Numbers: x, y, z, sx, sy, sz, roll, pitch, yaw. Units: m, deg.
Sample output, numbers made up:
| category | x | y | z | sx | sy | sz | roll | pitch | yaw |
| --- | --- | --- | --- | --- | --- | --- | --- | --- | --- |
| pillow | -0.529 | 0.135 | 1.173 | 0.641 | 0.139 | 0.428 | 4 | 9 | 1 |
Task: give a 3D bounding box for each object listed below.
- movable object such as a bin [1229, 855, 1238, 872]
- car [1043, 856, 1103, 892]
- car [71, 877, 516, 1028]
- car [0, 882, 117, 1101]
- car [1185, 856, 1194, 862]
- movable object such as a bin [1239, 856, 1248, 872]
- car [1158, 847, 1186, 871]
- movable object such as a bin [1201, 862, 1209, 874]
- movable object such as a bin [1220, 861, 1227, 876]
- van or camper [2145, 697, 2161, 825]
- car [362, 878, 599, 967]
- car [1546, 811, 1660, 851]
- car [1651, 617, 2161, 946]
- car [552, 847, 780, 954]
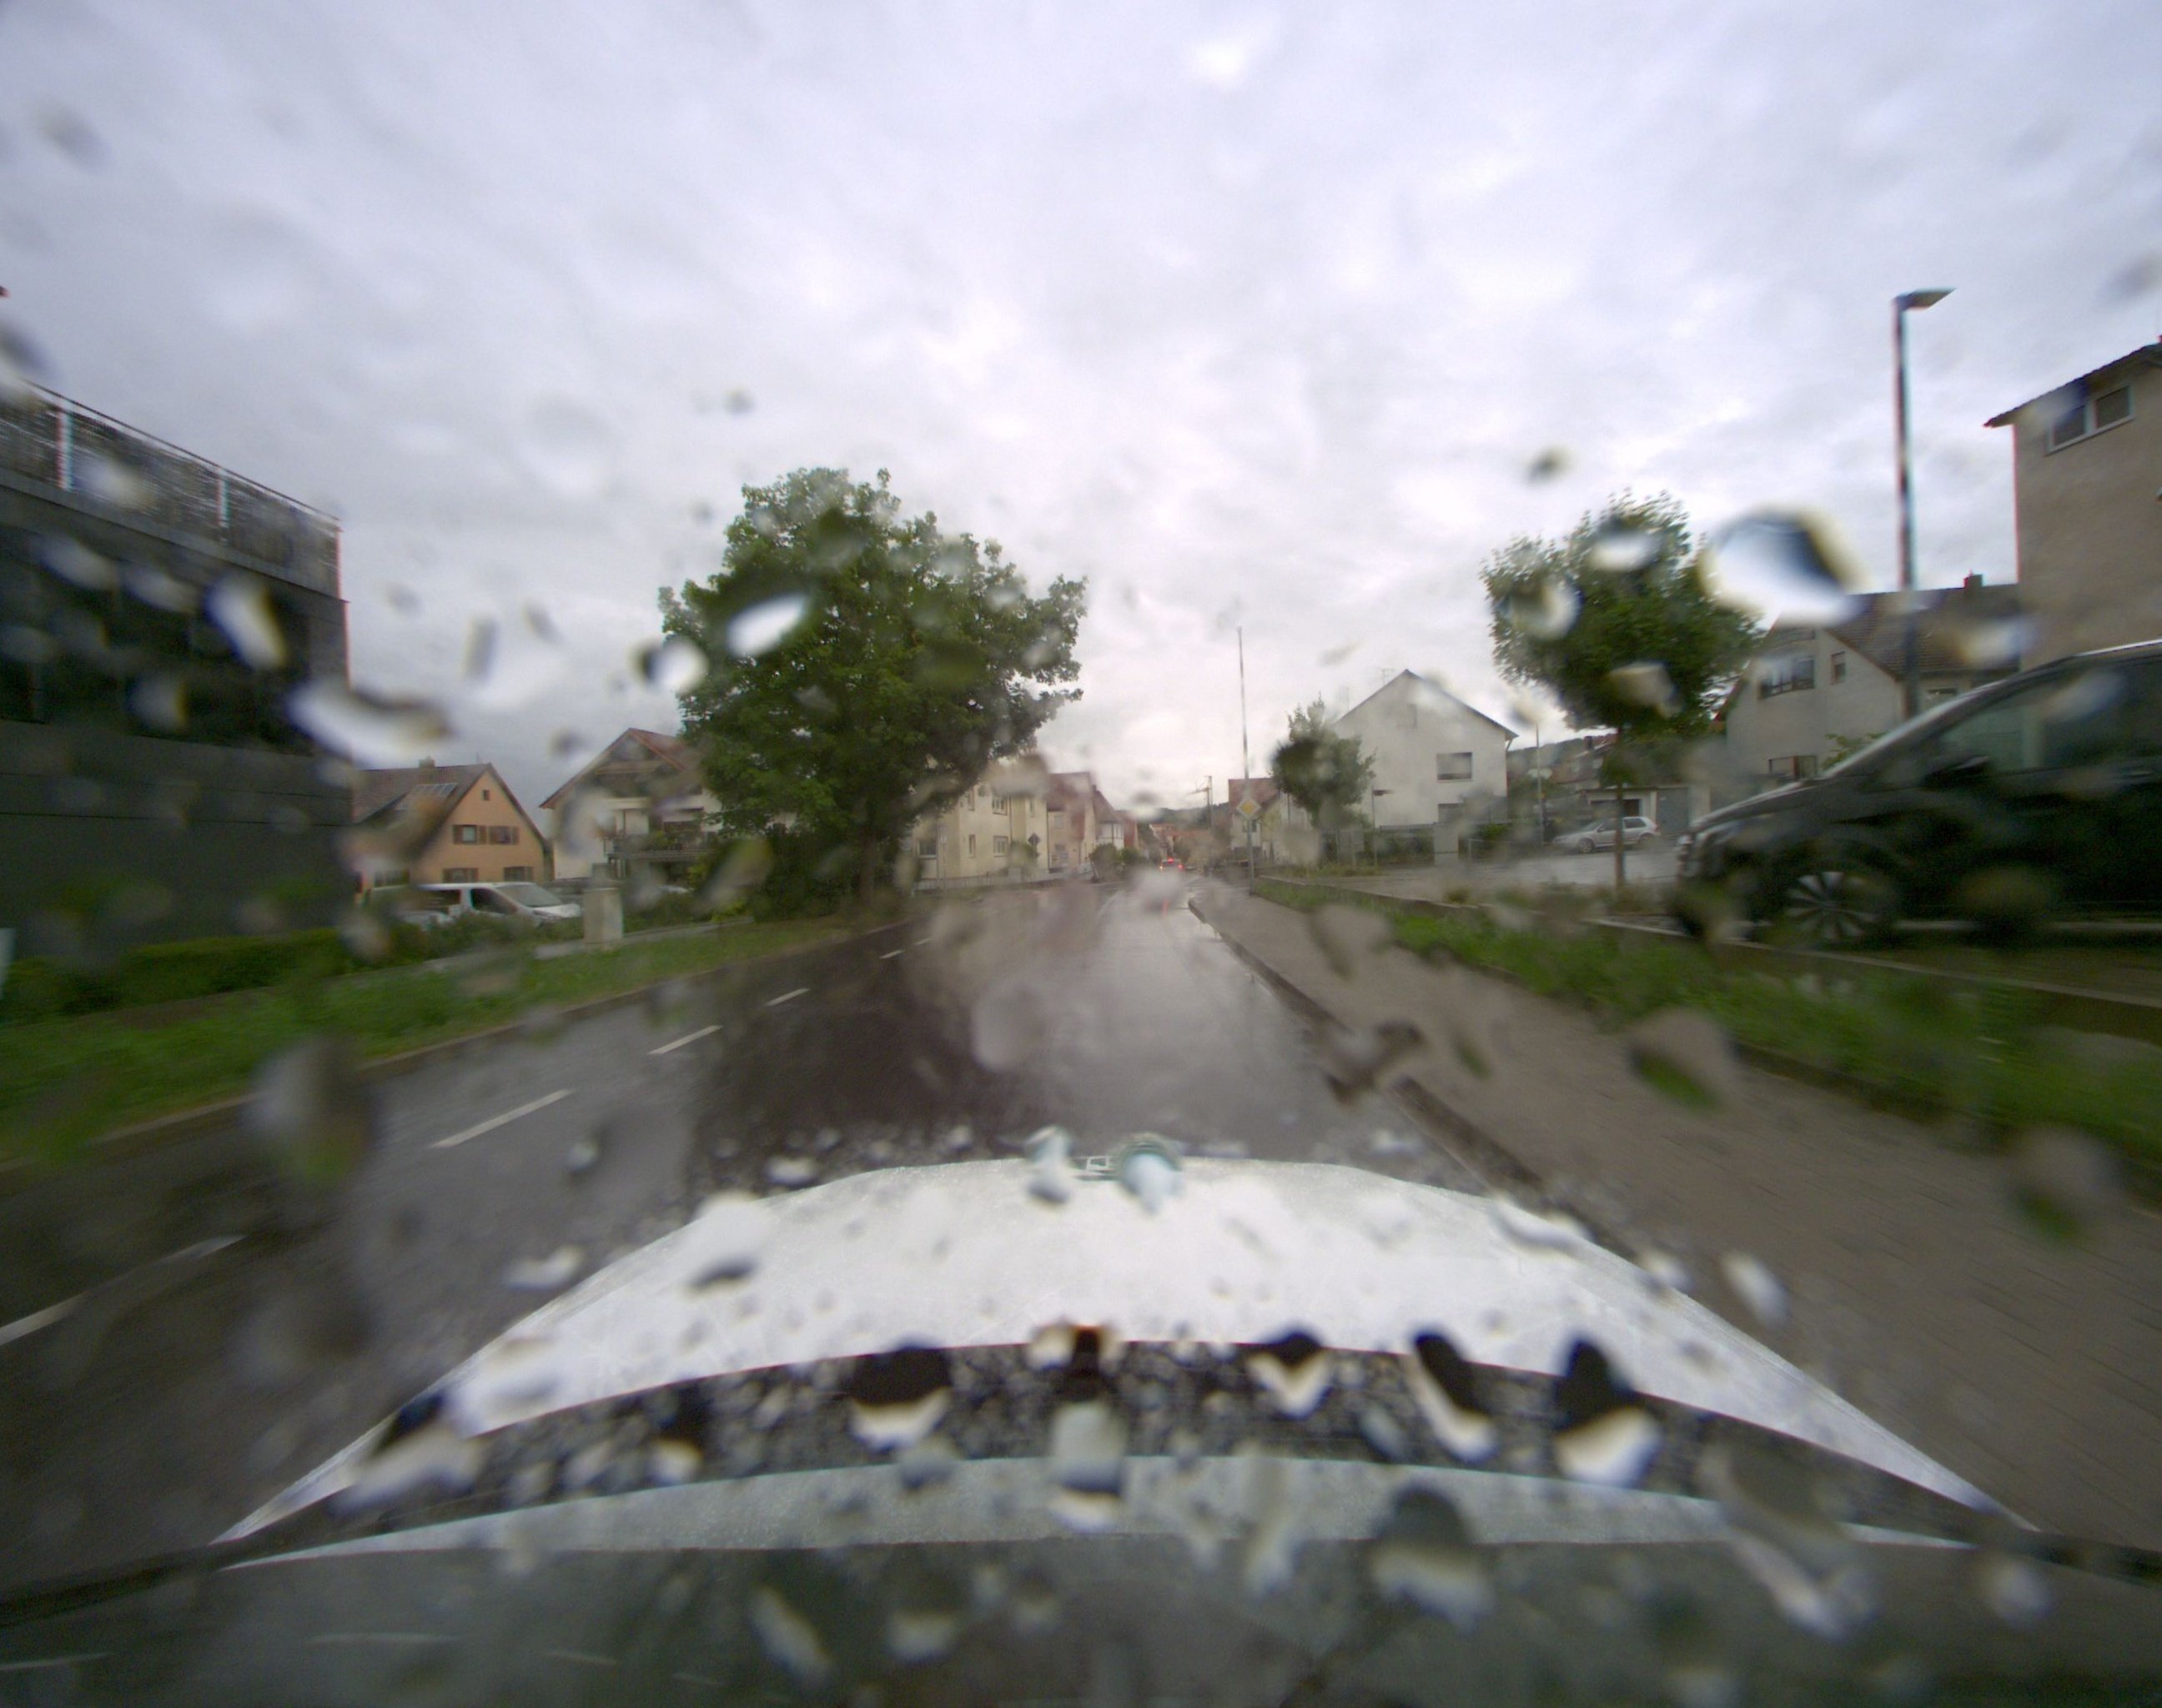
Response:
| category | x | y | z | sx | sy | sz | roll | pitch | yaw |
| --- | --- | --- | --- | --- | --- | --- | --- | --- | --- |
| movable object such as a bin | 9.840 | 0.613 | 52.596 | 0.541 | 1.028 | 0.633 | 0 | 1 | 7 |
| car | -0.677 | 1.750 | 71.012 | 4.530 | 2.012 | 2.165 | -14 | 0 | 8 |
| car | -7.518 | 0.899 | 7.976 | 2.897 | 1.159 | 1.472 | -3 | 0 | 1 |
| car | -8.408 | 0.928 | 4.670 | 3.885 | 1.284 | 1.582 | -3 | 0 | 1 |
| car | 28.244 | 1.321 | 212.205 | 1.828 | 1.578 | 4.306 | 0 | 2 | 14 |
| movable object such as a bin | 10.504 | 0.643 | 52.539 | 0.525 | 1.028 | 0.633 | 0 | 1 | 7 |
| car | 7.840 | 0.393 | 69.996 | 2.104 | 1.888 | 4.515 | 0 | 2 | 10 |
| movable object such as a bin | 13.461 | 1.542 | 88.248 | 0.740 | 1.279 | 0.885 | -2 | 1 | 10 |
| movable object such as a bin | 9.252 | 0.919 | 52.717 | 0.422 | 0.940 | 0.509 | 0 | 1 | 7 |
| van or camper | 22.865 | -1.791 | 13.278 | 1.993 | 2.536 | 6.585 | -1 | 1 | -8 |
| car | -15.266 | 1.700 | 20.923 | 4.382 | 2.013 | 2.154 | -1 | 2 | 0 |
| car | 22.452 | -0.981 | 35.126 | 3.748 | 1.455 | 1.611 | -3 | 0 | 6 |
| car | 7.057 | -0.455 | 5.493 | 5.049 | 1.919 | 2.067 | -4 | -1 | 39 |
| car | -6.462 | 0.717 | 12.844 | 2.897 | 1.455 | 1.253 | -3 | -2 | 1 |
